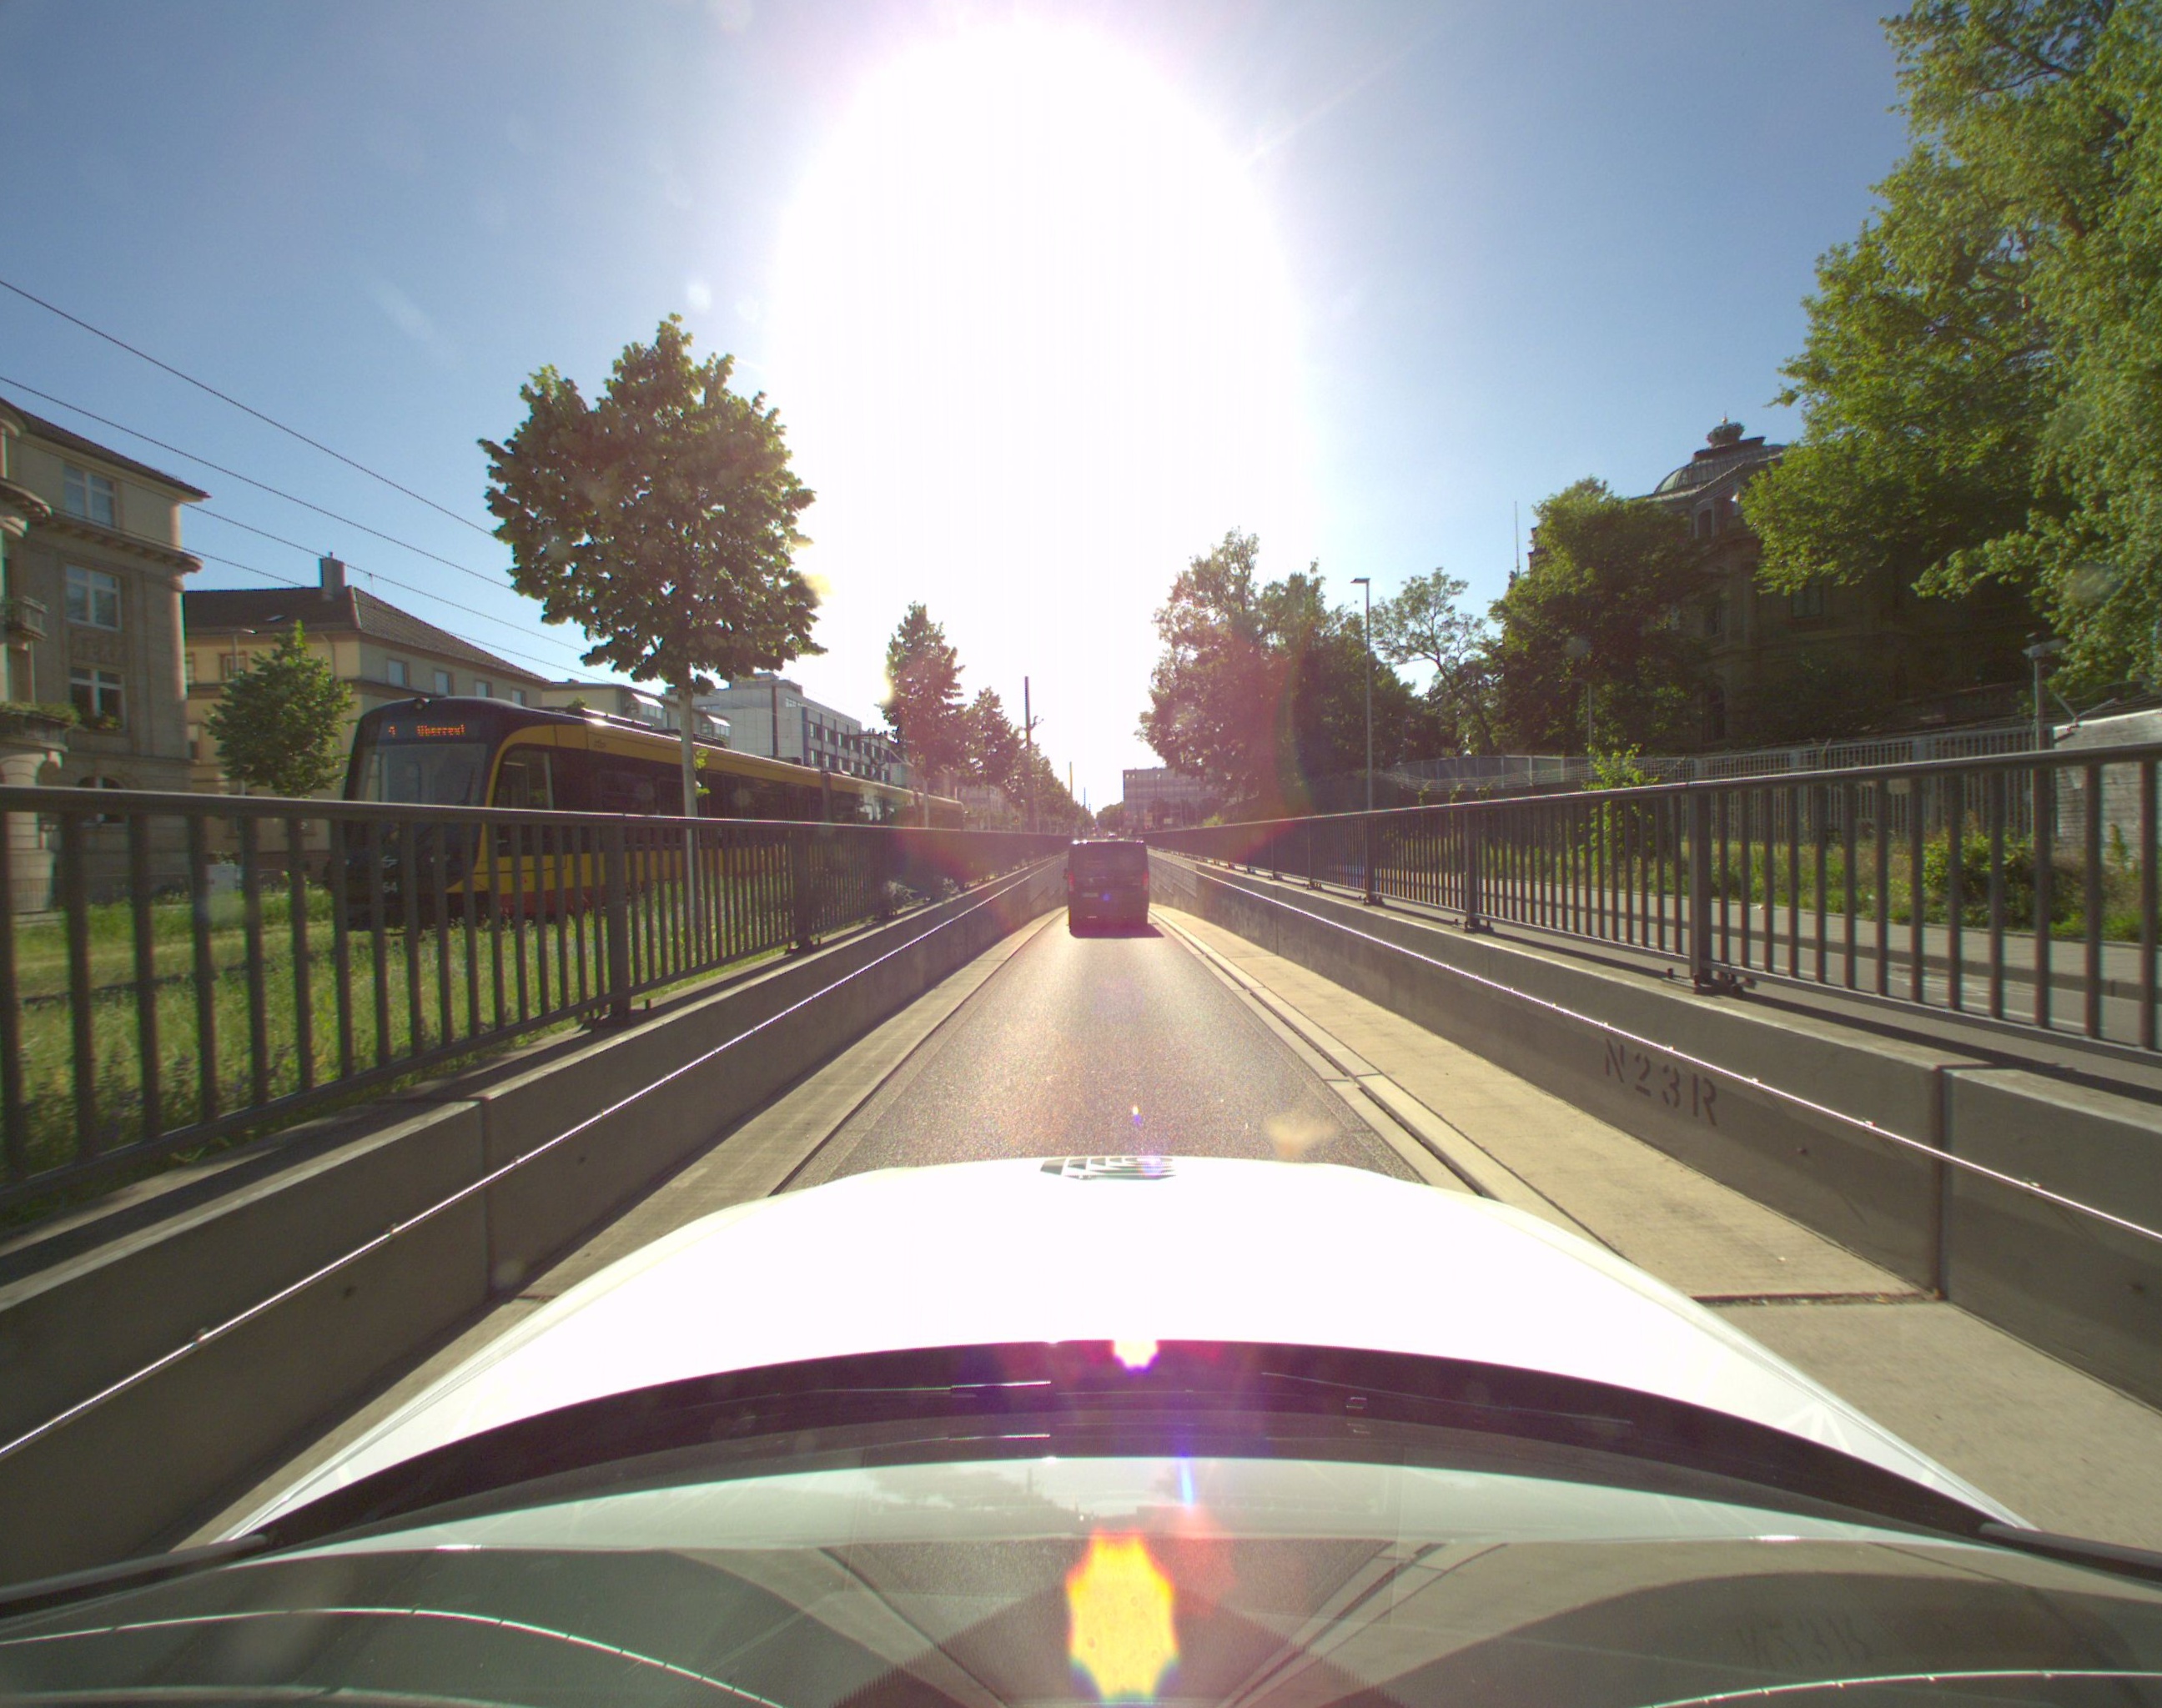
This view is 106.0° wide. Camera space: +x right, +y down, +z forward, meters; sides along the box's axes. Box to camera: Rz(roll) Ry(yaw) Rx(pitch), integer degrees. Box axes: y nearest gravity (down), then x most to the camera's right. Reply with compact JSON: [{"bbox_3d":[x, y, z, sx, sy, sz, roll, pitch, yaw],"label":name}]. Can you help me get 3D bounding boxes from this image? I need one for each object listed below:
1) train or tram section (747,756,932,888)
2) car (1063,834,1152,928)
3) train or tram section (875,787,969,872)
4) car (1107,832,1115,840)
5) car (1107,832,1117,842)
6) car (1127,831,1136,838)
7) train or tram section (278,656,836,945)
[{"bbox_3d":[-8.199,-1.008,30.144,2.601,3.821,13.096,0,1,2],"label":"train or tram section"},{"bbox_3d":[0.736,0.721,22.102,2.150,2.266,4.639,-1,-1,2],"label":"car"},{"bbox_3d":[-7.864,-1.155,41.679,2.603,3.854,9.975,0,1,2],"label":"train or tram section"},{"bbox_3d":[6.406,-3.834,173.673,1.734,1.562,4.000,-1,1,0],"label":"car"},{"bbox_3d":[5.487,-3.025,145.385,1.734,1.562,4.000,-1,1,0],"label":"car"},{"bbox_3d":[10.977,-4.198,176.403,1.734,1.421,4.000,-1,1,0],"label":"car"},{"bbox_3d":[-8.648,-0.749,16.988,2.600,3.656,13.349,0,1,2],"label":"train or tram section"}]
